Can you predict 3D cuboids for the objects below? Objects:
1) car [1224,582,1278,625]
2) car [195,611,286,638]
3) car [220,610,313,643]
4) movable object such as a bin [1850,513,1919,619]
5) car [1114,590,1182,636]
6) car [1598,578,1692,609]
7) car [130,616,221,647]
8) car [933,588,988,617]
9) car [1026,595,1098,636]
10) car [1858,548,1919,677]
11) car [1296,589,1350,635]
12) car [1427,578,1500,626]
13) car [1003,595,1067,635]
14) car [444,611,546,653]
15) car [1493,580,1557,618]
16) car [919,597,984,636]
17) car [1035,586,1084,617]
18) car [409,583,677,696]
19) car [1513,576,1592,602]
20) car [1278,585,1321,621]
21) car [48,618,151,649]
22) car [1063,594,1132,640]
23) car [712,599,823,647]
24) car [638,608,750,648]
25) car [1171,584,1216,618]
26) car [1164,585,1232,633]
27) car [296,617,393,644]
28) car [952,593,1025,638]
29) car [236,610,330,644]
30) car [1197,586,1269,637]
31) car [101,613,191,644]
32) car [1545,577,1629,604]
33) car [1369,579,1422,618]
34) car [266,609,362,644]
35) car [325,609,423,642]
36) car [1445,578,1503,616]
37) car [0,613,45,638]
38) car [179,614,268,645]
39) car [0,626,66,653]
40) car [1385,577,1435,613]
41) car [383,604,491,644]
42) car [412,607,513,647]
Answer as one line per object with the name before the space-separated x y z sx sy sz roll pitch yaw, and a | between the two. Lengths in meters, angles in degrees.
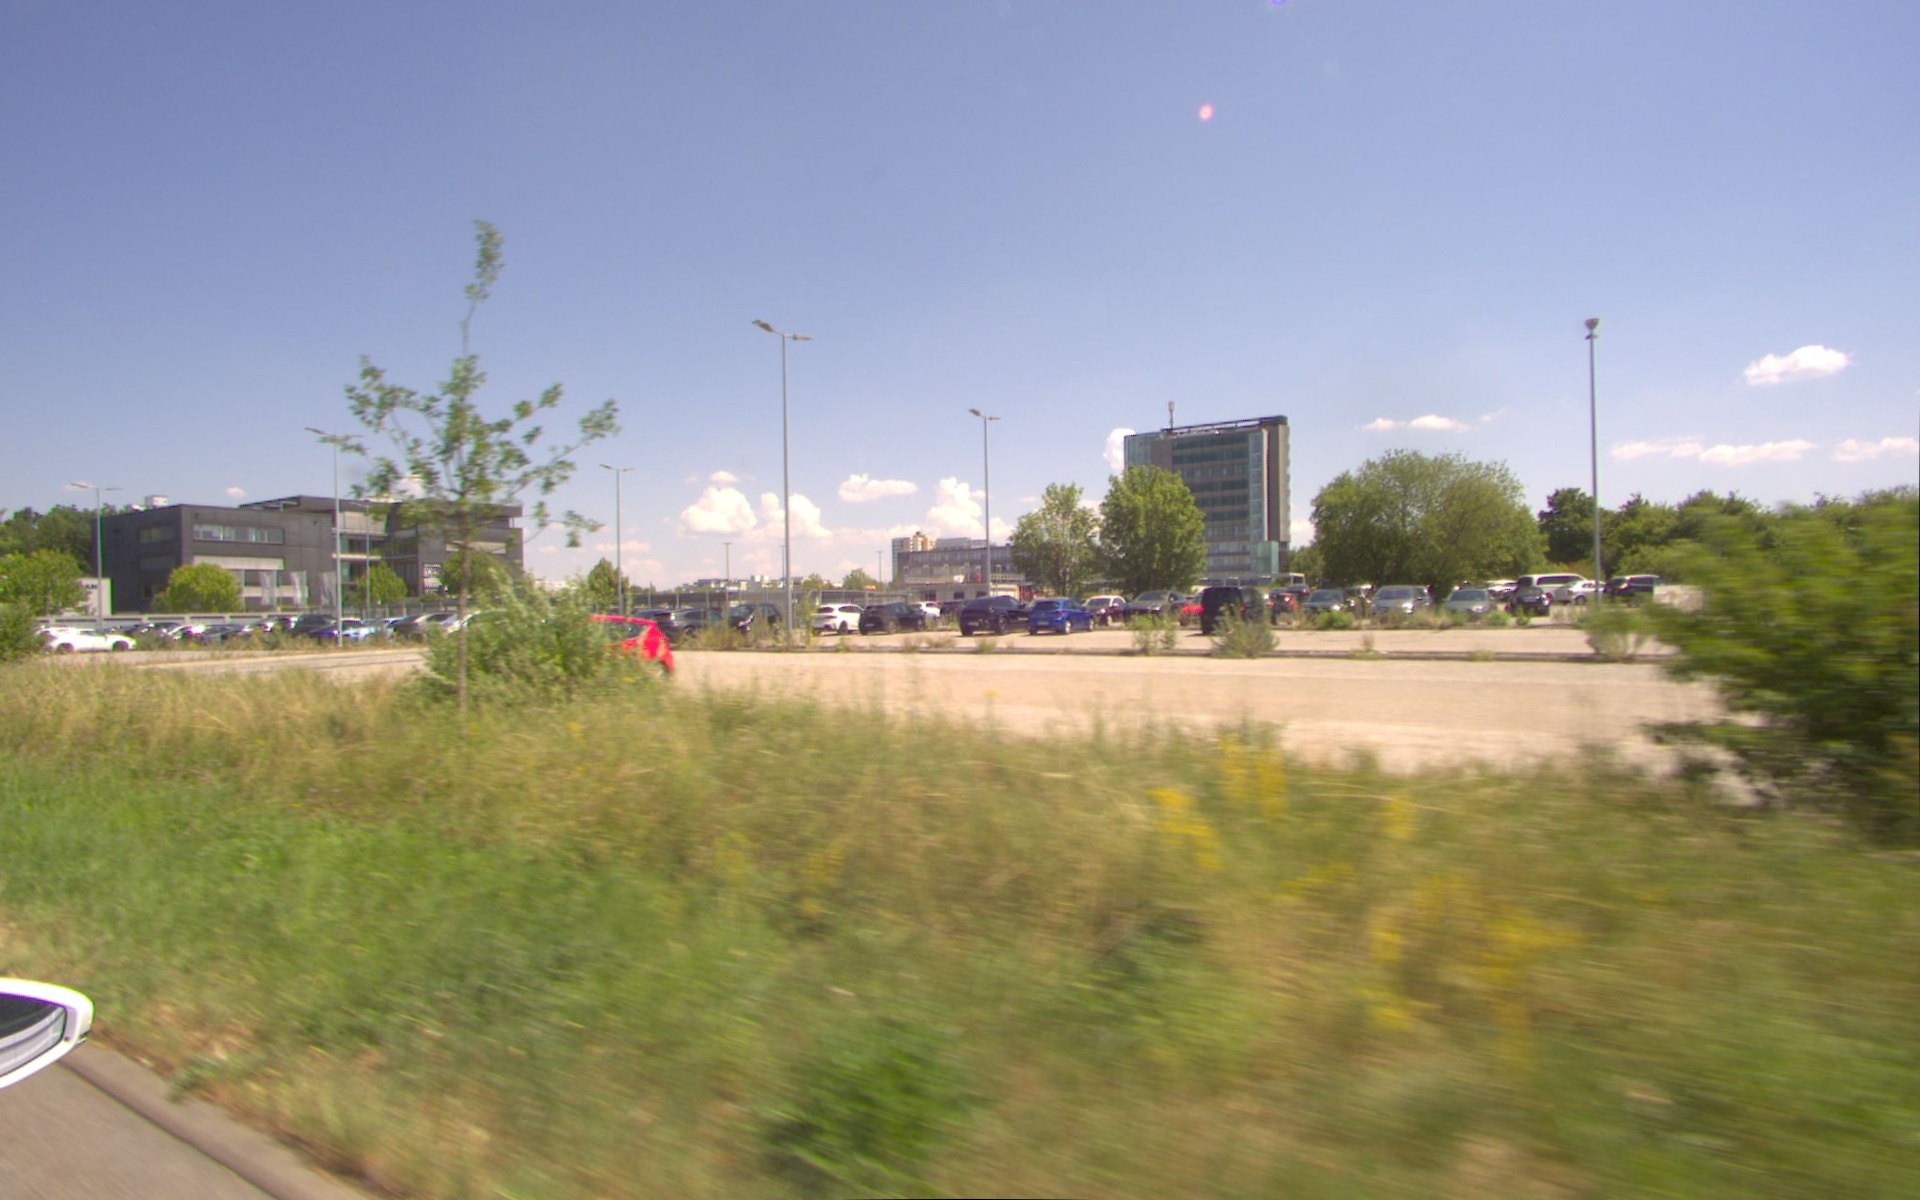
car | 12.570 0.118 43.139 1.965 1.663 3.989 2 2 20
car | -42.245 1.416 58.908 1.741 1.289 3.981 2 3 28
car | -39.324 1.460 56.876 1.741 1.618 3.981 2 3 28
movable object such as a bin | 38.726 -1.231 37.564 2.930 4.101 8.098 1 2 -3
car | 8.695 0.556 45.977 1.968 1.908 3.982 2 3 27
car | 37.622 -0.352 55.057 3.922 1.550 1.875 -1 1 -1
car | -47.559 1.863 60.792 1.741 1.618 3.981 2 3 28
car | 0.055 0.138 64.599 1.767 1.663 3.979 3 3 31
car | 4.315 0.598 41.795 1.706 1.484 3.792 2 3 27
car | 15.759 0.166 15.453 1.911 1.941 4.454 1 2 30
car | 15.166 0.453 41.882 1.965 1.663 3.989 2 2 20
car | 19.297 0.026 38.555 1.965 1.663 3.989 2 2 20
car | 3.569 0.664 46.852 1.965 1.663 3.989 2 2 20
car | -21.133 1.436 45.634 1.741 1.618 3.981 2 3 28
car | 27.193 -0.073 48.289 1.965 1.663 3.989 2 2 20
car | -0.358 0.779 49.725 1.965 1.663 3.989 2 2 20
car | 5.909 0.040 59.205 1.965 1.663 3.989 2 2 20
car | -7.179 0.609 17.625 1.899 1.746 3.978 -1 0 32
car | 37.437 -0.707 63.310 3.922 1.550 1.875 -1 1 -1
car | 17.646 0.113 51.981 1.965 1.663 3.989 2 2 20
car | -47.826 1.828 55.743 1.741 1.420 3.980 2 3 29
car | 6.570 0.757 47.517 1.968 1.908 3.982 2 3 27
car | -7.212 0.825 37.859 1.899 1.663 3.978 -1 0 32
car | -10.230 1.064 38.788 1.899 1.414 3.978 -2 0 32
car | 12.932 0.021 55.317 1.965 1.663 3.989 2 2 20
car | 10.661 0.342 44.653 1.968 1.908 3.982 2 3 27
car | -32.183 1.555 52.483 1.741 1.124 3.981 2 3 28
car | 1.265 0.612 42.782 1.965 1.663 3.989 2 2 20
car | -37.304 1.454 55.279 1.741 1.618 3.981 2 3 28
car | 10.364 0.397 37.846 1.731 1.782 3.981 0 2 29
car | -50.194 1.739 61.827 1.741 1.618 3.981 2 3 28
car | 37.940 -0.555 60.640 3.922 1.550 1.875 -1 1 -1
car | 17.710 -0.096 40.859 1.690 1.440 3.989 2 2 20
car | -34.742 1.389 53.962 1.832 1.618 3.981 2 3 28
car | -29.475 1.232 50.475 1.741 1.412 3.981 2 3 28
car | 25.019 -0.178 48.894 1.965 1.663 3.989 2 2 20
car | -61.451 1.661 64.010 1.741 1.420 3.981 2 3 28
car | -44.433 1.737 60.482 1.741 1.618 3.981 2 3 28
car | -58.838 2.471 62.610 1.741 1.420 3.981 2 3 28
car | 22.655 -0.286 50.554 1.965 1.663 3.989 2 2 20
car | -24.920 1.092 47.863 1.741 1.618 4.360 2 3 28
car | -23.086 1.214 46.604 1.741 1.618 3.981 2 3 28
